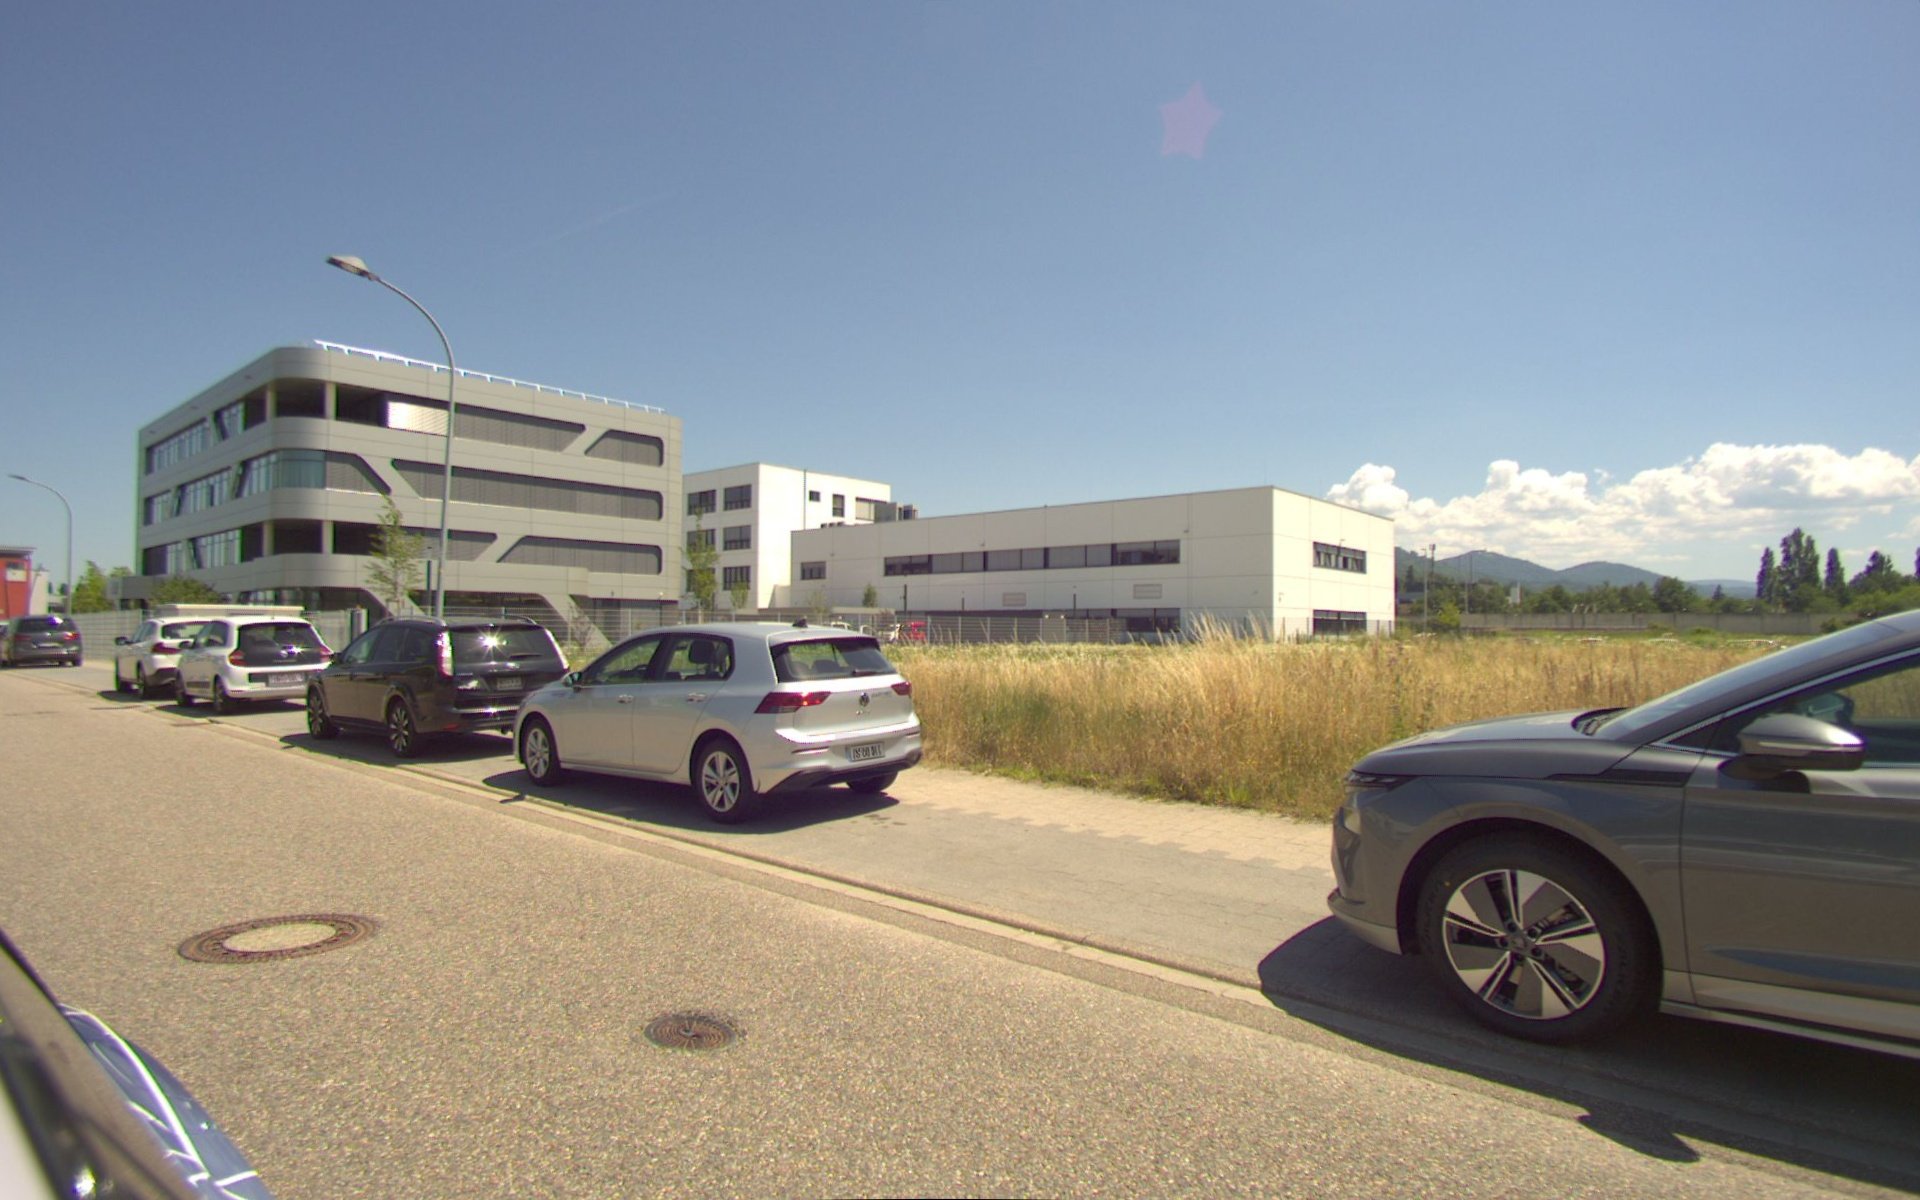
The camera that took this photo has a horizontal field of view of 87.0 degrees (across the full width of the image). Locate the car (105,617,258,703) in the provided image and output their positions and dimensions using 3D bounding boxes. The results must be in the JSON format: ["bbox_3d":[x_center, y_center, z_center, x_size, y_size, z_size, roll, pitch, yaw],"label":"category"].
[{"bbox_3d":[-15.834,1.134,20.496,4.364,1.554,1.767,-1,-2,43],"label":"car"}]

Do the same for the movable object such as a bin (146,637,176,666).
[{"bbox_3d":[-26.521,1.700,33.582,0.594,0.952,0.517,0,-2,-9],"label":"movable object such as a bin"}]

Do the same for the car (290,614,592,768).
[{"bbox_3d":[-6.374,0.946,12.206,4.377,1.529,1.745,-1,-1,41],"label":"car"}]

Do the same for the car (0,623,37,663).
[{"bbox_3d":[-38.506,1.727,40.675,3.655,1.548,1.618,-2,-1,40],"label":"car"}]

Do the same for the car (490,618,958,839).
[{"bbox_3d":[-2.193,0.905,8.778,4.195,1.462,1.746,-1,-1,38],"label":"car"}]

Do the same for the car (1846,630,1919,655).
[{"bbox_3d":[76.071,3.468,83.149,4.918,2.029,1.973,-1,-3,41],"label":"car"}]

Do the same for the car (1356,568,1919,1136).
[{"bbox_3d":[3.800,0.715,3.148,4.459,1.619,1.772,-1,-1,40],"label":"car"}]

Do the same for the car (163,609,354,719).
[{"bbox_3d":[-12.038,1.009,17.294,3.766,1.669,1.769,-1,-2,40],"label":"car"}]

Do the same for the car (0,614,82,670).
[{"bbox_3d":[-30.935,1.372,33.829,4.620,1.733,1.784,-2,-1,41],"label":"car"}]

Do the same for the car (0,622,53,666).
[{"bbox_3d":[-34.846,1.605,37.388,3.970,1.512,1.617,-2,-1,42],"label":"car"}]

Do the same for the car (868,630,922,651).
[{"bbox_3d":[-4.944,3.085,77.413,1.921,1.597,3.945,-2,-3,41],"label":"car"}]

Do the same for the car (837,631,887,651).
[{"bbox_3d":[-7.850,3.296,81.532,1.917,1.597,3.953,-1,-3,34],"label":"car"}]

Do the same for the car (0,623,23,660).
[{"bbox_3d":[-42.653,1.828,44.439,4.569,1.548,1.685,-2,-1,40],"label":"car"}]
